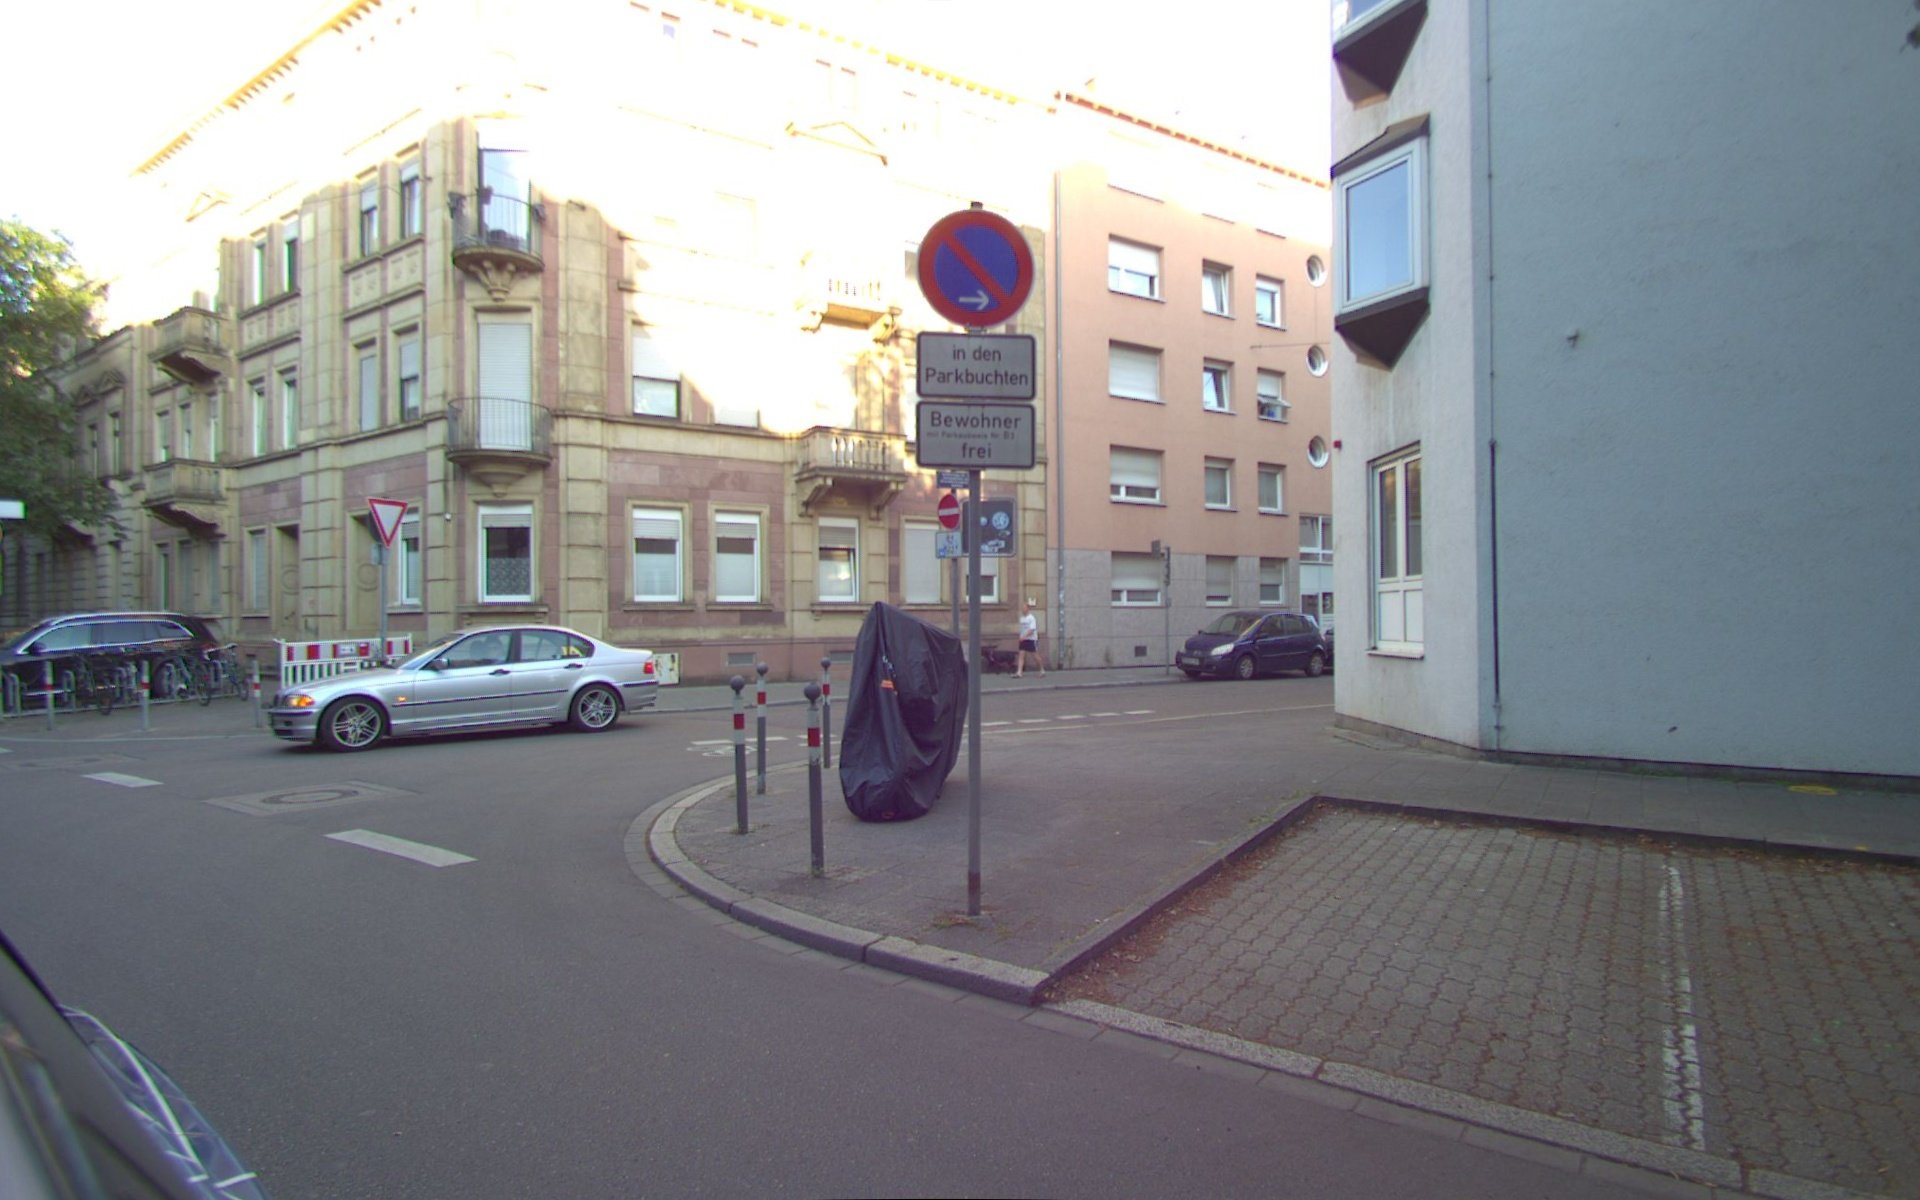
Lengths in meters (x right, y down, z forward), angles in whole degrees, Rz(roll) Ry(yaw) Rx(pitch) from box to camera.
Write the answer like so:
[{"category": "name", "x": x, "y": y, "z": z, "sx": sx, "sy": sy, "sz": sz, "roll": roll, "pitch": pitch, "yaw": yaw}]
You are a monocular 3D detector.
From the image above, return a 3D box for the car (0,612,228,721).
[{"category": "car", "x": -16.258, "y": 1.145, "z": 18.325, "sx": 1.773, "sy": 1.751, "sz": 4.536, "roll": 0, "pitch": 1, "yaw": 36}]

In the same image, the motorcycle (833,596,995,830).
[{"category": "motorcycle", "x": -0.283, "y": 0.782, "z": 7.905, "sx": 0.663, "sy": 1.567, "sz": 2.152, "roll": -1, "pitch": -1, "yaw": 14}]

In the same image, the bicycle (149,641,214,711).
[{"category": "bicycle", "x": -13.359, "y": 1.282, "z": 17.348, "sx": 1.866, "sy": 1.097, "sz": 0.360, "roll": 0, "pitch": 1, "yaw": 36}]

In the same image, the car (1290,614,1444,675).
[{"category": "car", "x": 10.948, "y": 1.156, "z": 27.136, "sx": 4.211, "sy": 1.525, "sz": 1.699, "roll": 0, "pitch": -2, "yaw": -33}]

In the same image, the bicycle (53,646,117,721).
[{"category": "bicycle", "x": -14.131, "y": 1.319, "z": 16.332, "sx": 1.866, "sy": 1.097, "sz": 0.360, "roll": 0, "pitch": 1, "yaw": 36}]

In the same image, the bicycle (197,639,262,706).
[{"category": "bicycle", "x": -12.982, "y": 1.270, "z": 17.960, "sx": 1.866, "sy": 1.097, "sz": 0.360, "roll": 0, "pitch": 1, "yaw": 36}]

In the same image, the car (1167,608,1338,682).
[{"category": "car", "x": 7.079, "y": 1.049, "z": 24.407, "sx": 3.985, "sy": 1.637, "sz": 1.700, "roll": 0, "pitch": -2, "yaw": -32}]

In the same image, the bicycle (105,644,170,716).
[{"category": "bicycle", "x": -13.723, "y": 1.302, "z": 16.863, "sx": 1.866, "sy": 1.097, "sz": 0.360, "roll": 0, "pitch": 1, "yaw": 36}]

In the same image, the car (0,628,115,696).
[{"category": "car", "x": -22.219, "y": 1.413, "z": 22.976, "sx": 1.773, "sy": 1.499, "sz": 4.392, "roll": -2, "pitch": -2, "yaw": 36}]

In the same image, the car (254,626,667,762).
[{"category": "car", "x": -6.128, "y": 1.072, "z": 12.696, "sx": 4.398, "sy": 1.414, "sz": 1.686, "roll": 1, "pitch": -4, "yaw": -38}]

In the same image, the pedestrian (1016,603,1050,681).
[{"category": "pedestrian", "x": 1.663, "y": 0.957, "z": 23.106, "sx": 0.559, "sy": 1.757, "sz": 0.552, "roll": 1, "pitch": -2, "yaw": -34}]
